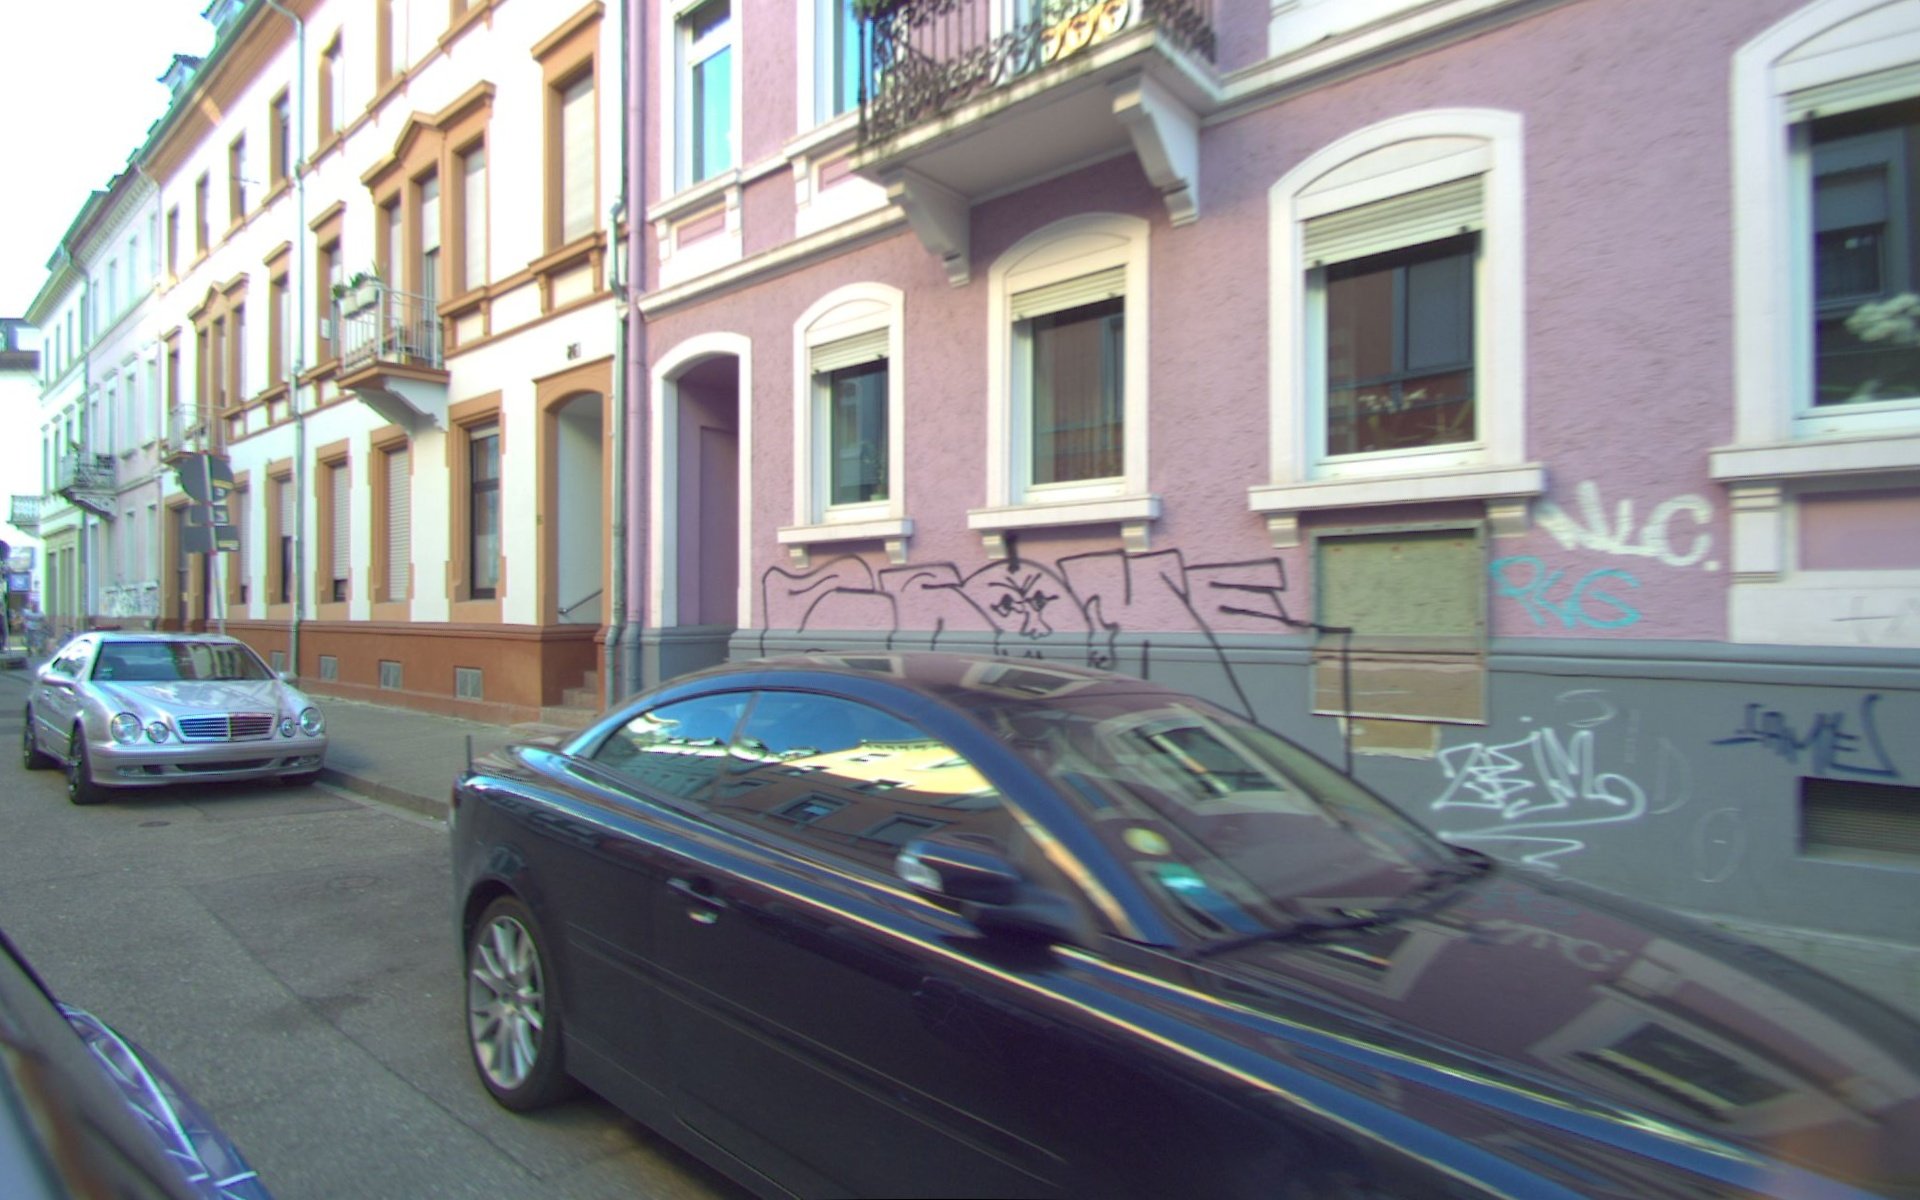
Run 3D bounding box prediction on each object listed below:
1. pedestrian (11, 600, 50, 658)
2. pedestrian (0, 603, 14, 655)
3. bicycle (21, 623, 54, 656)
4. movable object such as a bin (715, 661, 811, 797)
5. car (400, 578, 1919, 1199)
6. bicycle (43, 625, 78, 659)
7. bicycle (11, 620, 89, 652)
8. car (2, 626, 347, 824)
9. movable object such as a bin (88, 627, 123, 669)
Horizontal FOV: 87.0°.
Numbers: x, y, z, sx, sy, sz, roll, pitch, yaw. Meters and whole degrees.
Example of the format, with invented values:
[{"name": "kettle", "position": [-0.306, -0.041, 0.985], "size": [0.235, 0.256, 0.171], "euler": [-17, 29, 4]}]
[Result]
[{"name": "pedestrian", "position": [-28.763, 0.898, 31.310], "size": [0.864, 1.714, 0.686], "euler": [-4, 1, 41]}, {"name": "pedestrian", "position": [-33.624, 0.998, 35.117], "size": [0.986, 1.806, 0.820], "euler": [0, -3, 31]}, {"name": "bicycle", "position": [-32.044, 1.355, 35.157], "size": [1.817, 1.030, 0.597], "euler": [0, 3, 42]}, {"name": "movable object such as a bin", "position": [-1.520, 0.973, 7.825], "size": [0.487, 0.952, 0.538], "euler": [0, 0, 42]}, {"name": "car", "position": [0.174, 0.735, 2.704], "size": [4.356, 1.394, 1.692], "euler": [-2, -2, 43]}, {"name": "bicycle", "position": [-28.576, 1.322, 32.132], "size": [1.817, 1.030, 0.615], "euler": [-1, 0, 42]}, {"name": "bicycle", "position": [-40.043, 1.560, 44.552], "size": [0.928, 1.369, 2.449], "euler": [-1, -1, 41]}, {"name": "car", "position": [-7.555, 0.993, 9.557], "size": [4.503, 1.394, 1.693], "euler": [0, -3, 41]}, {"name": "movable object such as a bin", "position": [-22.105, 1.245, 26.181], "size": [0.596, 1.043, 0.599], "euler": [0, 0, 40]}]
